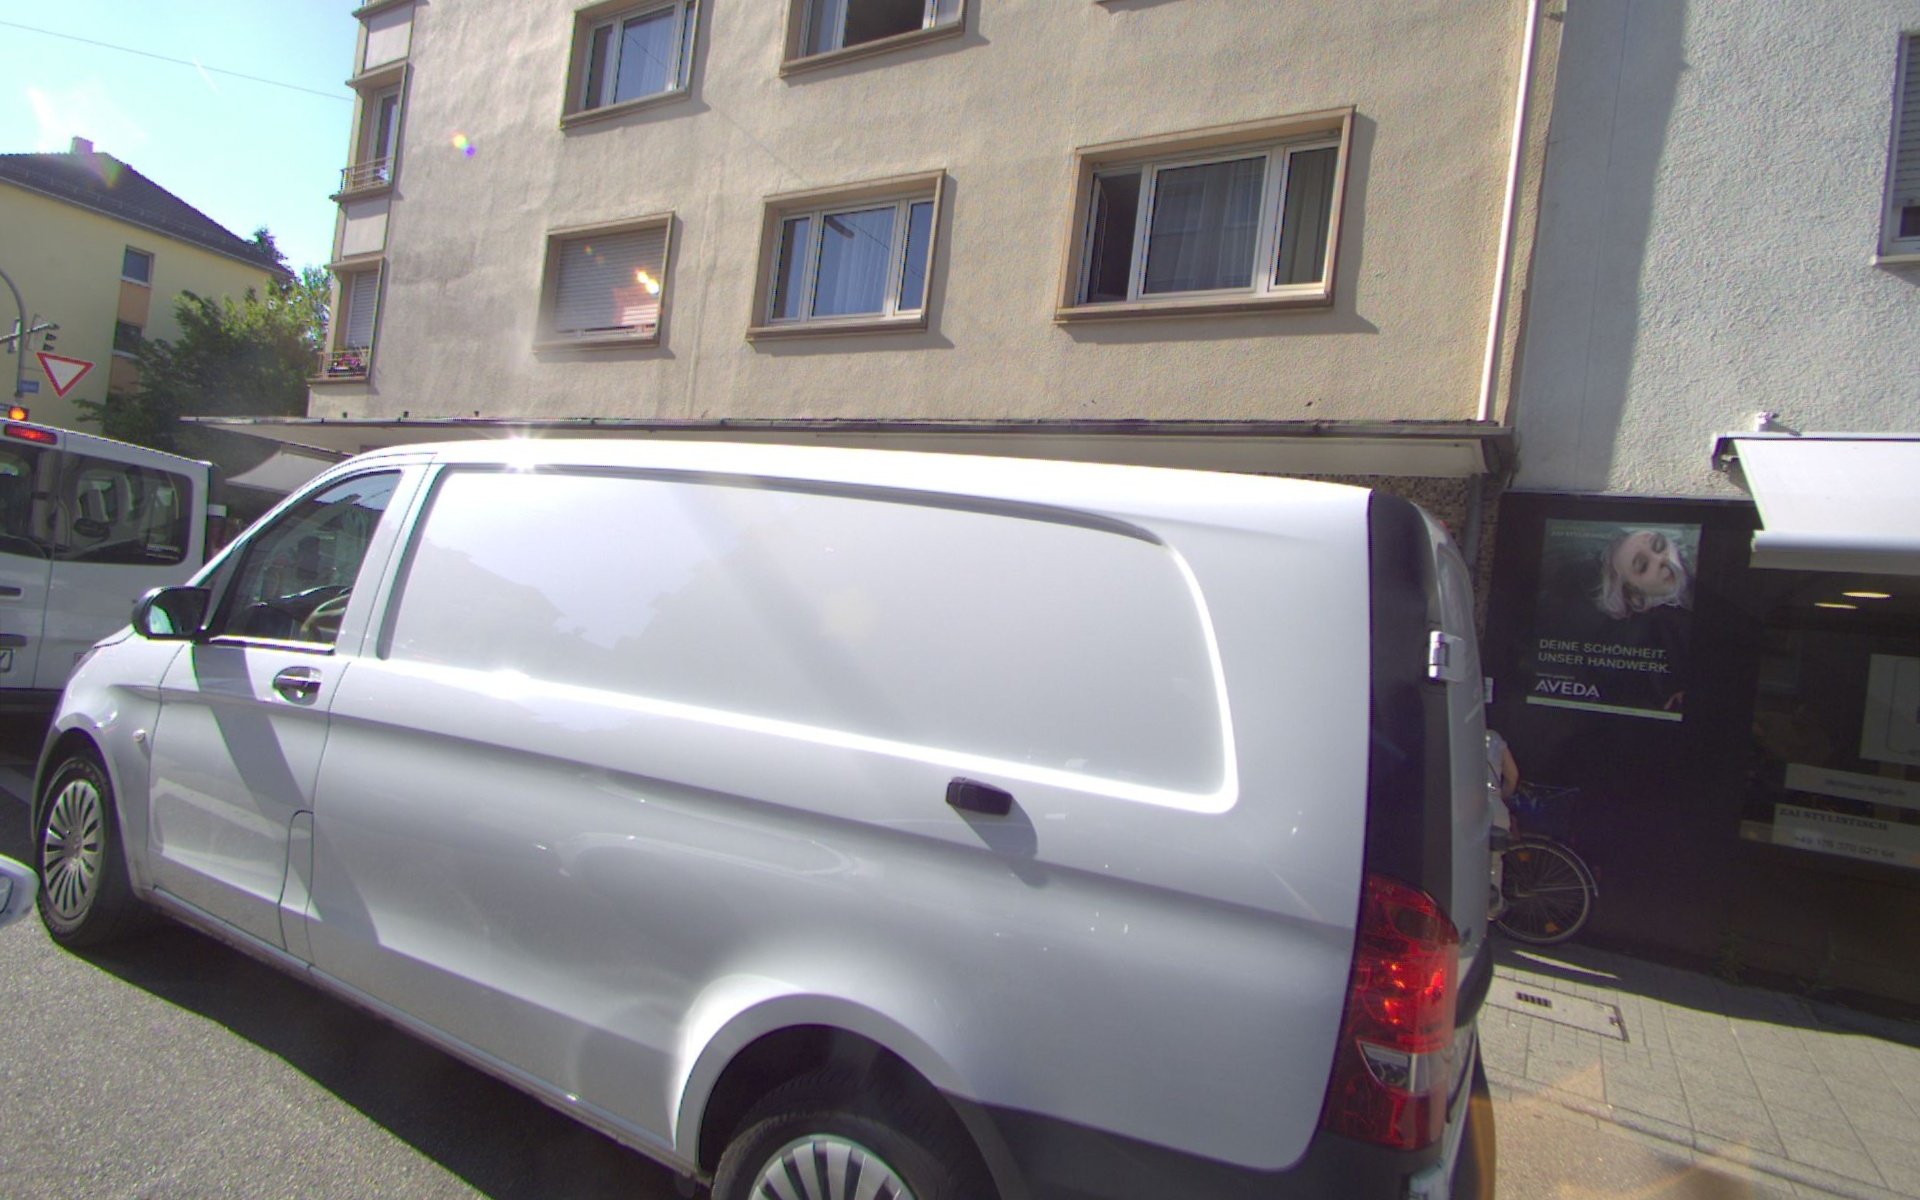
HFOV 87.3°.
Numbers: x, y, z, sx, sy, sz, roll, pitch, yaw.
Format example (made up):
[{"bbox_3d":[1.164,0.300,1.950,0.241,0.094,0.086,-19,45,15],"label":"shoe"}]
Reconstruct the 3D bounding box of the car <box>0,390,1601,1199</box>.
[{"bbox_3d":[-0.990,0.505,3.302,4.910,1.891,1.840,7,-1,29],"label":"car"}]

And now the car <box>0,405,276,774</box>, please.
[{"bbox_3d":[-7.151,-0.252,6.952,4.813,2.001,1.998,7,-2,31],"label":"car"}]
